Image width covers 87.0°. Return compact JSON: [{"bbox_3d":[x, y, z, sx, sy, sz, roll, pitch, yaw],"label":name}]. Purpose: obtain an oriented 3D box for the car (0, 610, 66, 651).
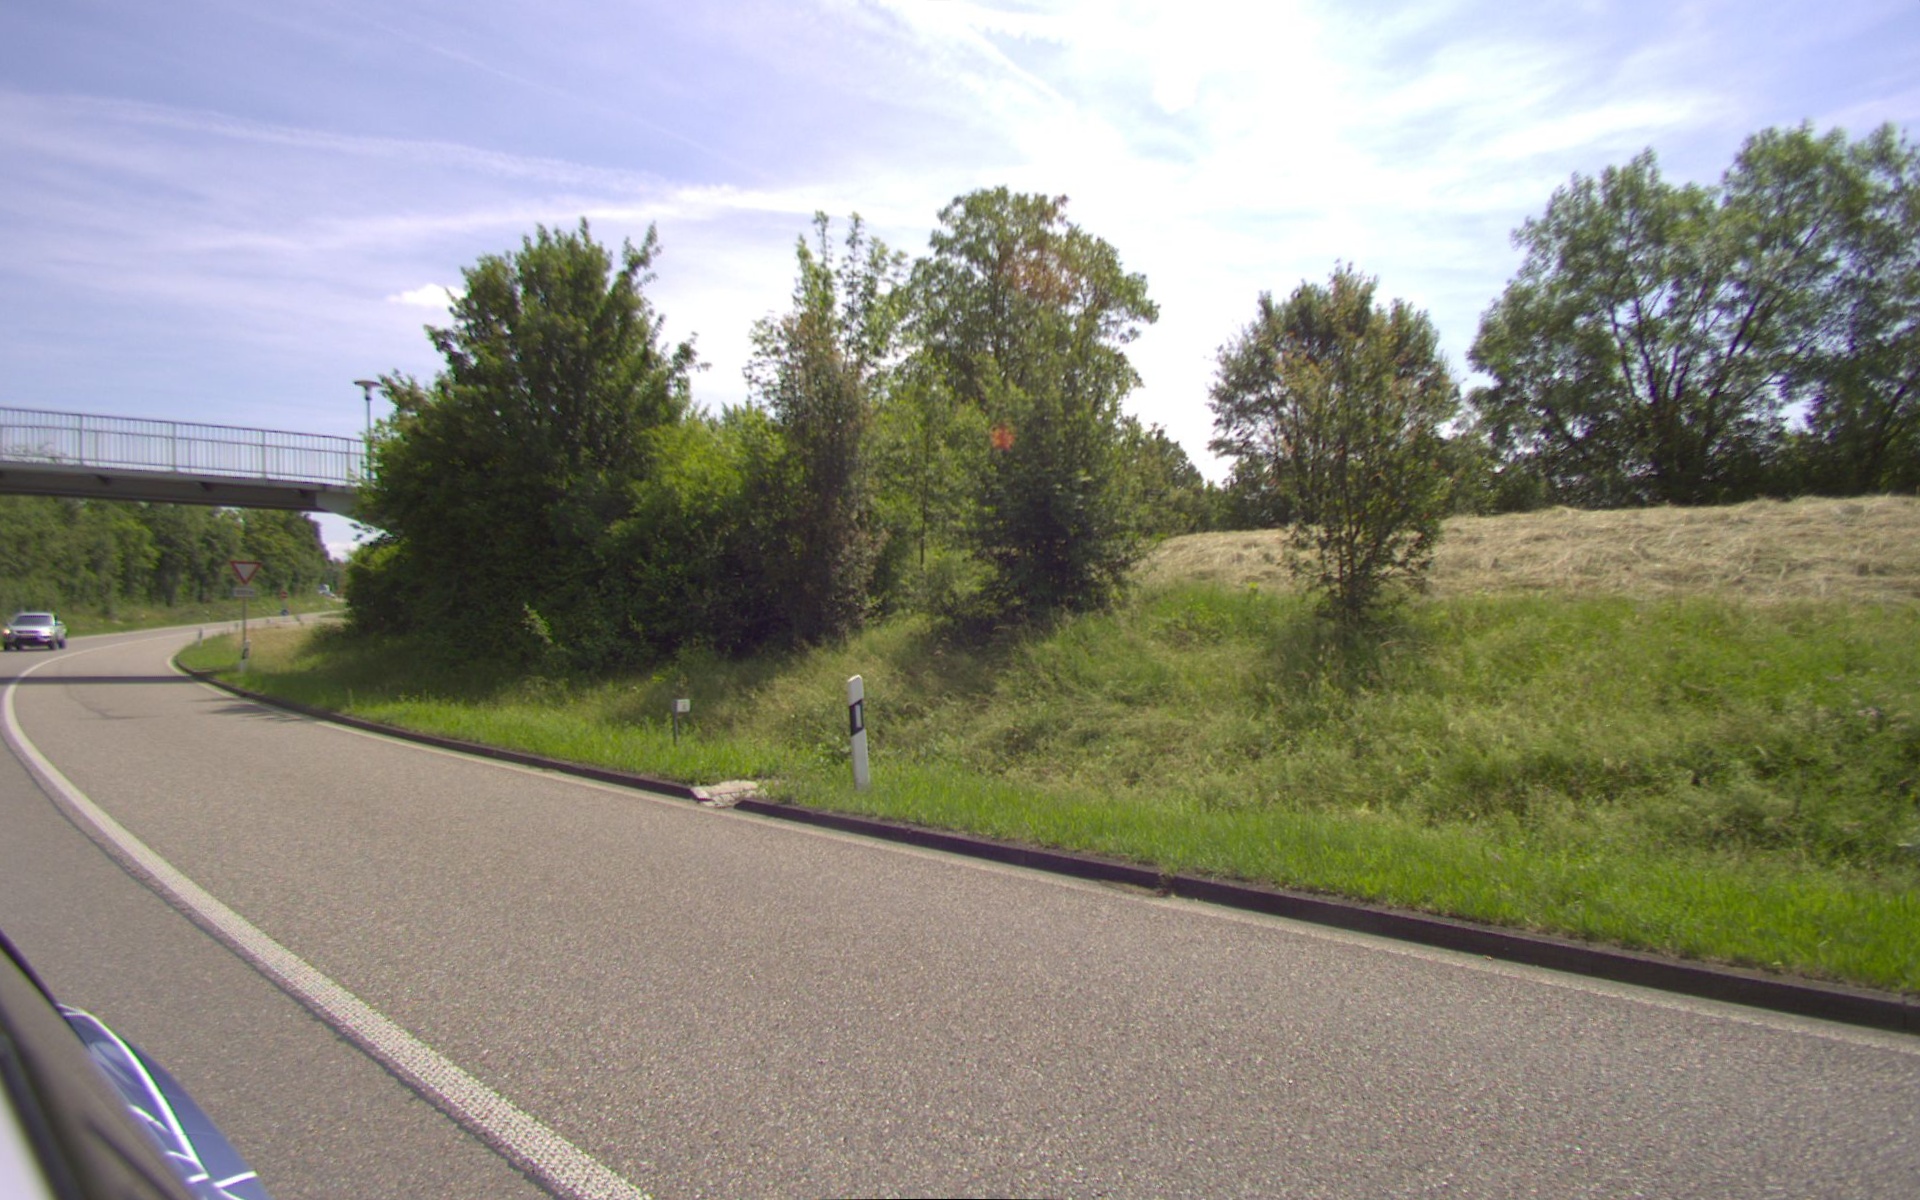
[{"bbox_3d":[-42.136,1.350,45.935,1.819,1.721,4.099,0,0,-35],"label":"car"}]
